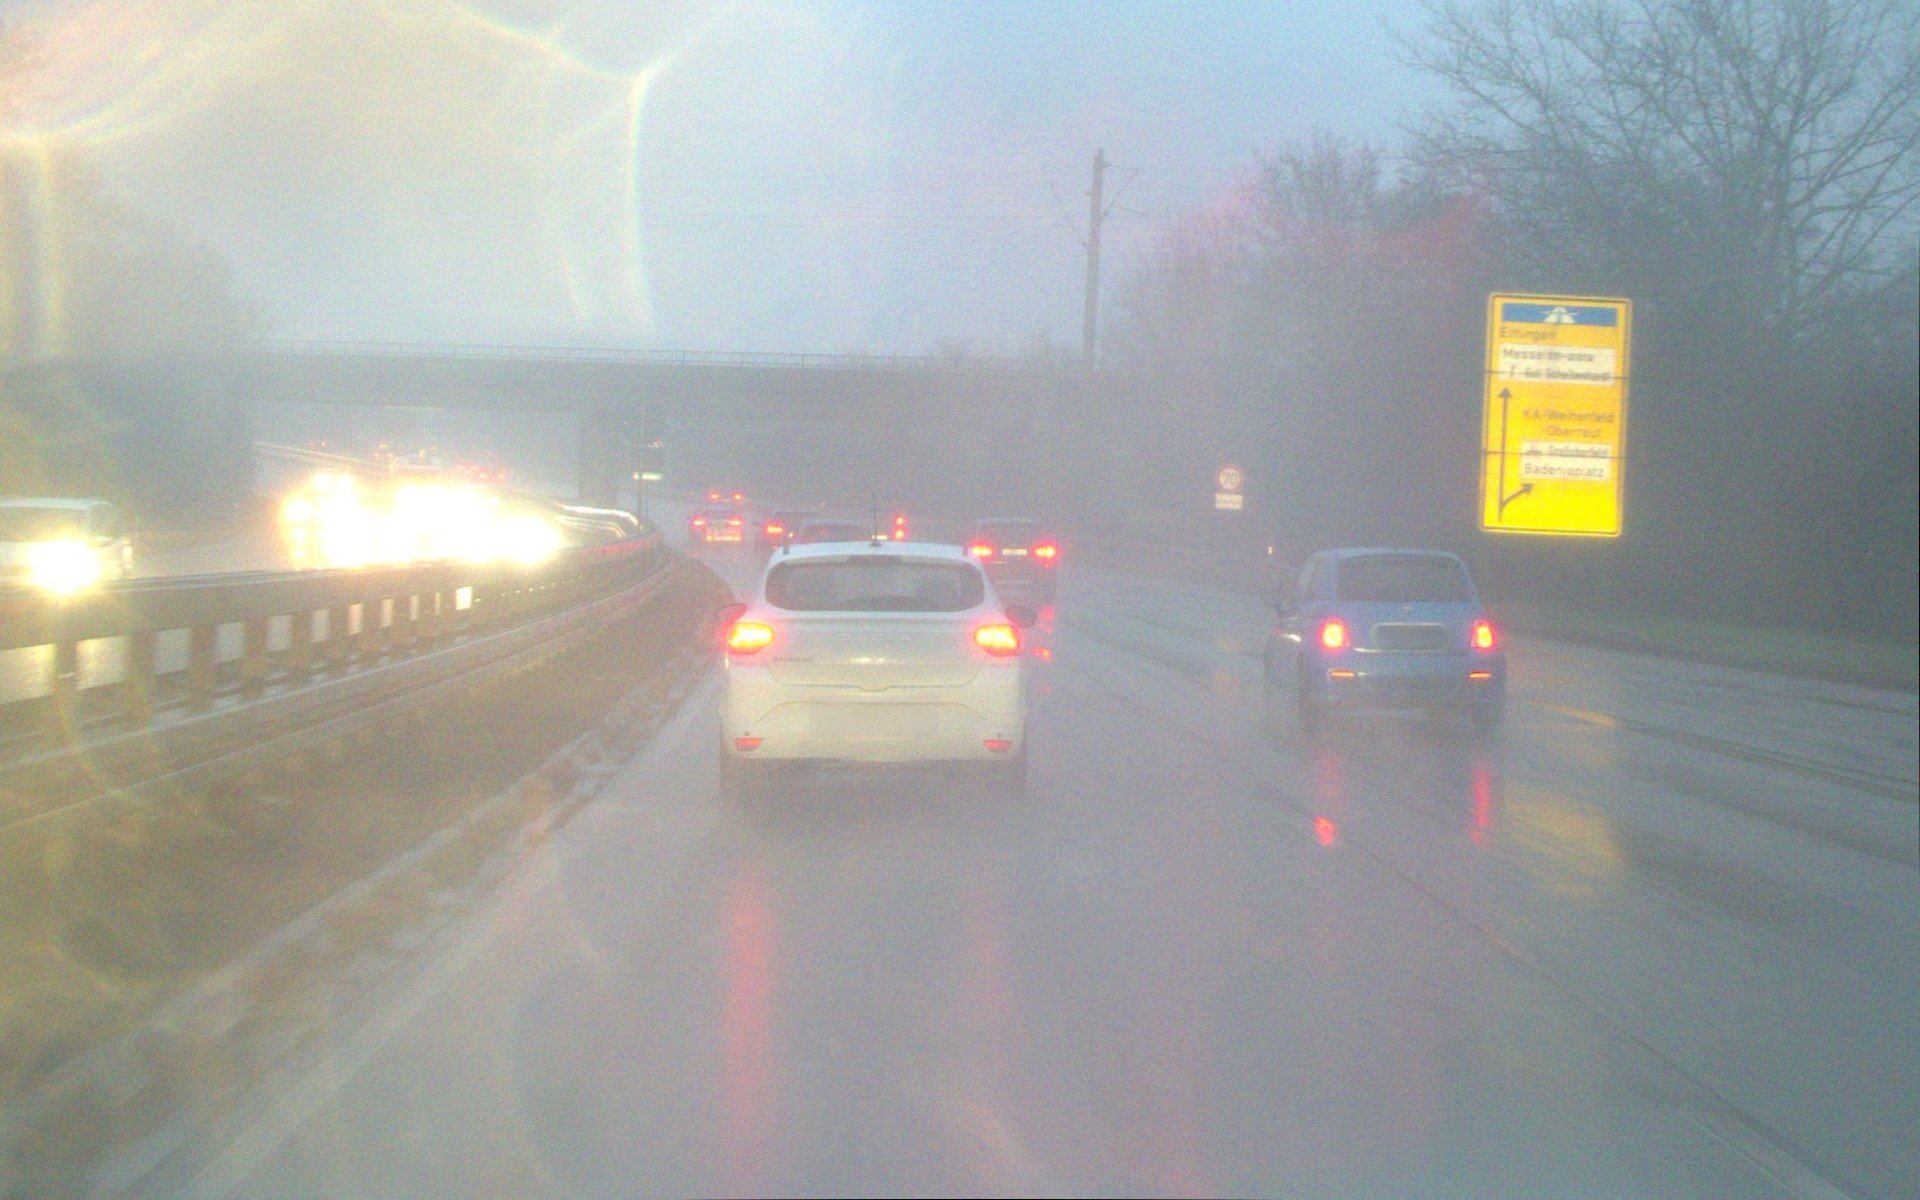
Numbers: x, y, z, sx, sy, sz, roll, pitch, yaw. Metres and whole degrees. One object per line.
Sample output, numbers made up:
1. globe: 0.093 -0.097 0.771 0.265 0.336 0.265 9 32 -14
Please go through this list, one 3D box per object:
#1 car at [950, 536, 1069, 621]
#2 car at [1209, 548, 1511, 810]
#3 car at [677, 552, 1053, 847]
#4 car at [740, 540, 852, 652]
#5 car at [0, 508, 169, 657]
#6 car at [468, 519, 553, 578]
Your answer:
1. car: 0.973 -0.415 69.740 1.932 1.541 3.774 -4 0 -5
2. car: 3.312 0.603 29.156 1.932 2.012 3.774 2 1 -2
3. car: -0.476 0.528 21.099 2.025 1.569 4.000 2 1 2
4. car: -3.083 -0.100 65.445 1.993 2.007 4.000 2 1 -2
5. car: -11.940 -0.266 45.528 1.883 1.826 4.787 2 1 -1
6. car: -11.582 -1.335 88.806 1.754 1.436 4.001 2 1 -2
